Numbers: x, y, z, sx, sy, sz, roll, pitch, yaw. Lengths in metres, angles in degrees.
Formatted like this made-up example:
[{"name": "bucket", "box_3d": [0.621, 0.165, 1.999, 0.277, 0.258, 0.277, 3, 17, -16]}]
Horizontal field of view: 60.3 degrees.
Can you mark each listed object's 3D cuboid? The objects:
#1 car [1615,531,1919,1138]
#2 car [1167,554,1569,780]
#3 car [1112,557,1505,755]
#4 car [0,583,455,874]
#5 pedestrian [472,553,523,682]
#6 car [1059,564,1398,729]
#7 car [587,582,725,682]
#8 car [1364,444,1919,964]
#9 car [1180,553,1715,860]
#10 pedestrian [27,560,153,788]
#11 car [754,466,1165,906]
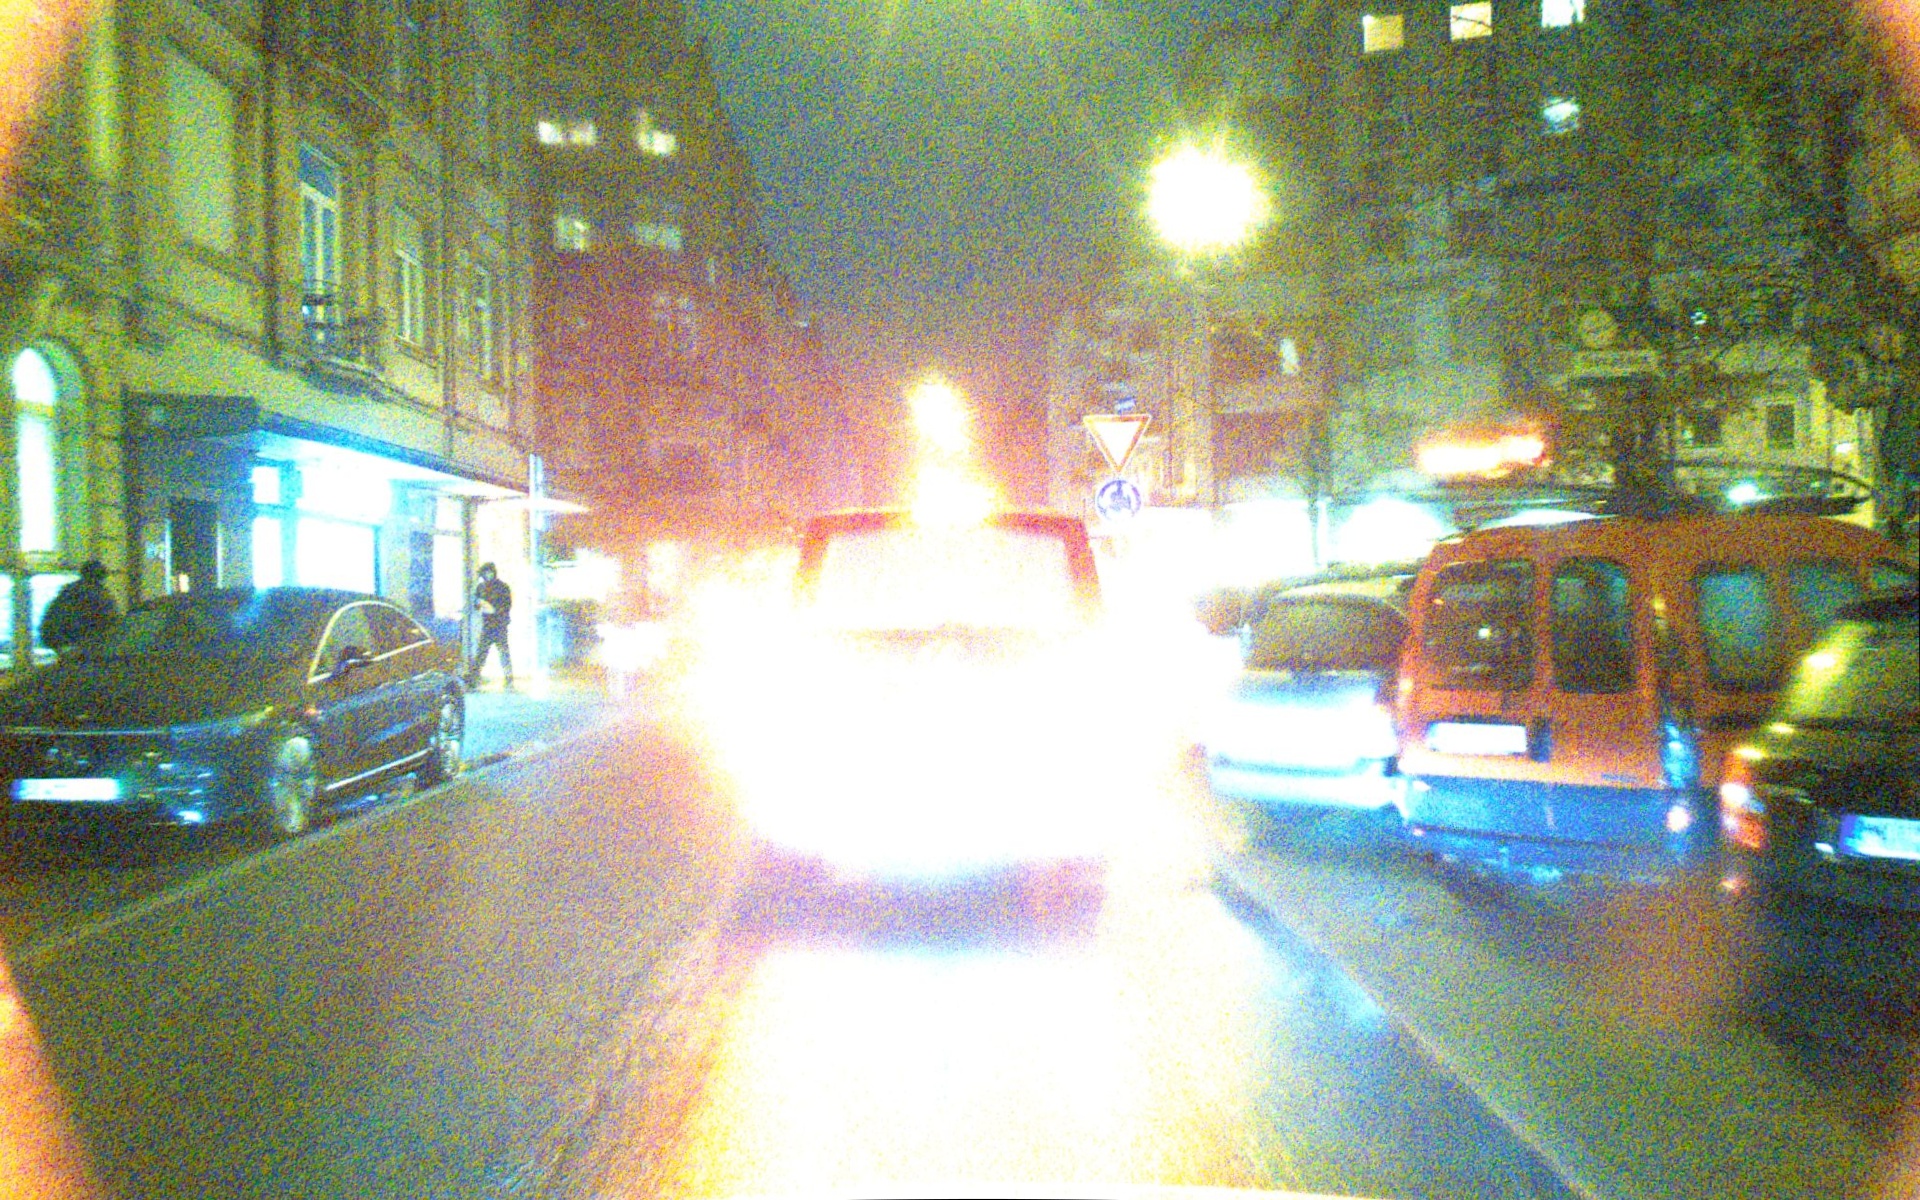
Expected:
[{"name": "car", "box_3d": [4.165, 0.530, 5.542, 3.958, 1.615, 1.856, -4, 1, -37]}, {"name": "car", "box_3d": [3.672, 0.518, 14.676, 3.533, 1.764, 1.667, 0, 0, -38]}, {"name": "car", "box_3d": [3.631, 0.500, 16.950, 3.958, 1.792, 1.855, 0, 0, -38]}, {"name": "car", "box_3d": [-4.762, 0.693, 11.073, 1.777, 1.584, 4.073, 0, 0, -4]}, {"name": "pedestrian", "box_3d": [-6.995, 0.266, 25.053, 0.648, 1.937, 0.538, 0, 0, -5]}, {"name": "car", "box_3d": [3.279, 0.502, 19.878, 3.958, 1.792, 1.855, 0, 0, -38]}, {"name": "car", "box_3d": [-5.522, 0.544, 30.507, 1.845, 1.714, 3.999, 0, 0, -1]}, {"name": "car", "box_3d": [3.783, 0.354, 8.161, 3.529, 2.025, 1.584, -3, 0, -38]}, {"name": "car", "box_3d": [3.281, 0.580, 10.876, 3.529, 1.618, 1.584, -3, 0, -38]}, {"name": "pedestrian", "box_3d": [-6.748, 0.564, 12.852, 0.687, 1.734, 0.539, 0, 0, -1]}, {"name": "car", "box_3d": [-0.033, 0.423, 9.888, 1.953, 2.086, 3.999, 0, -1, -1]}]
